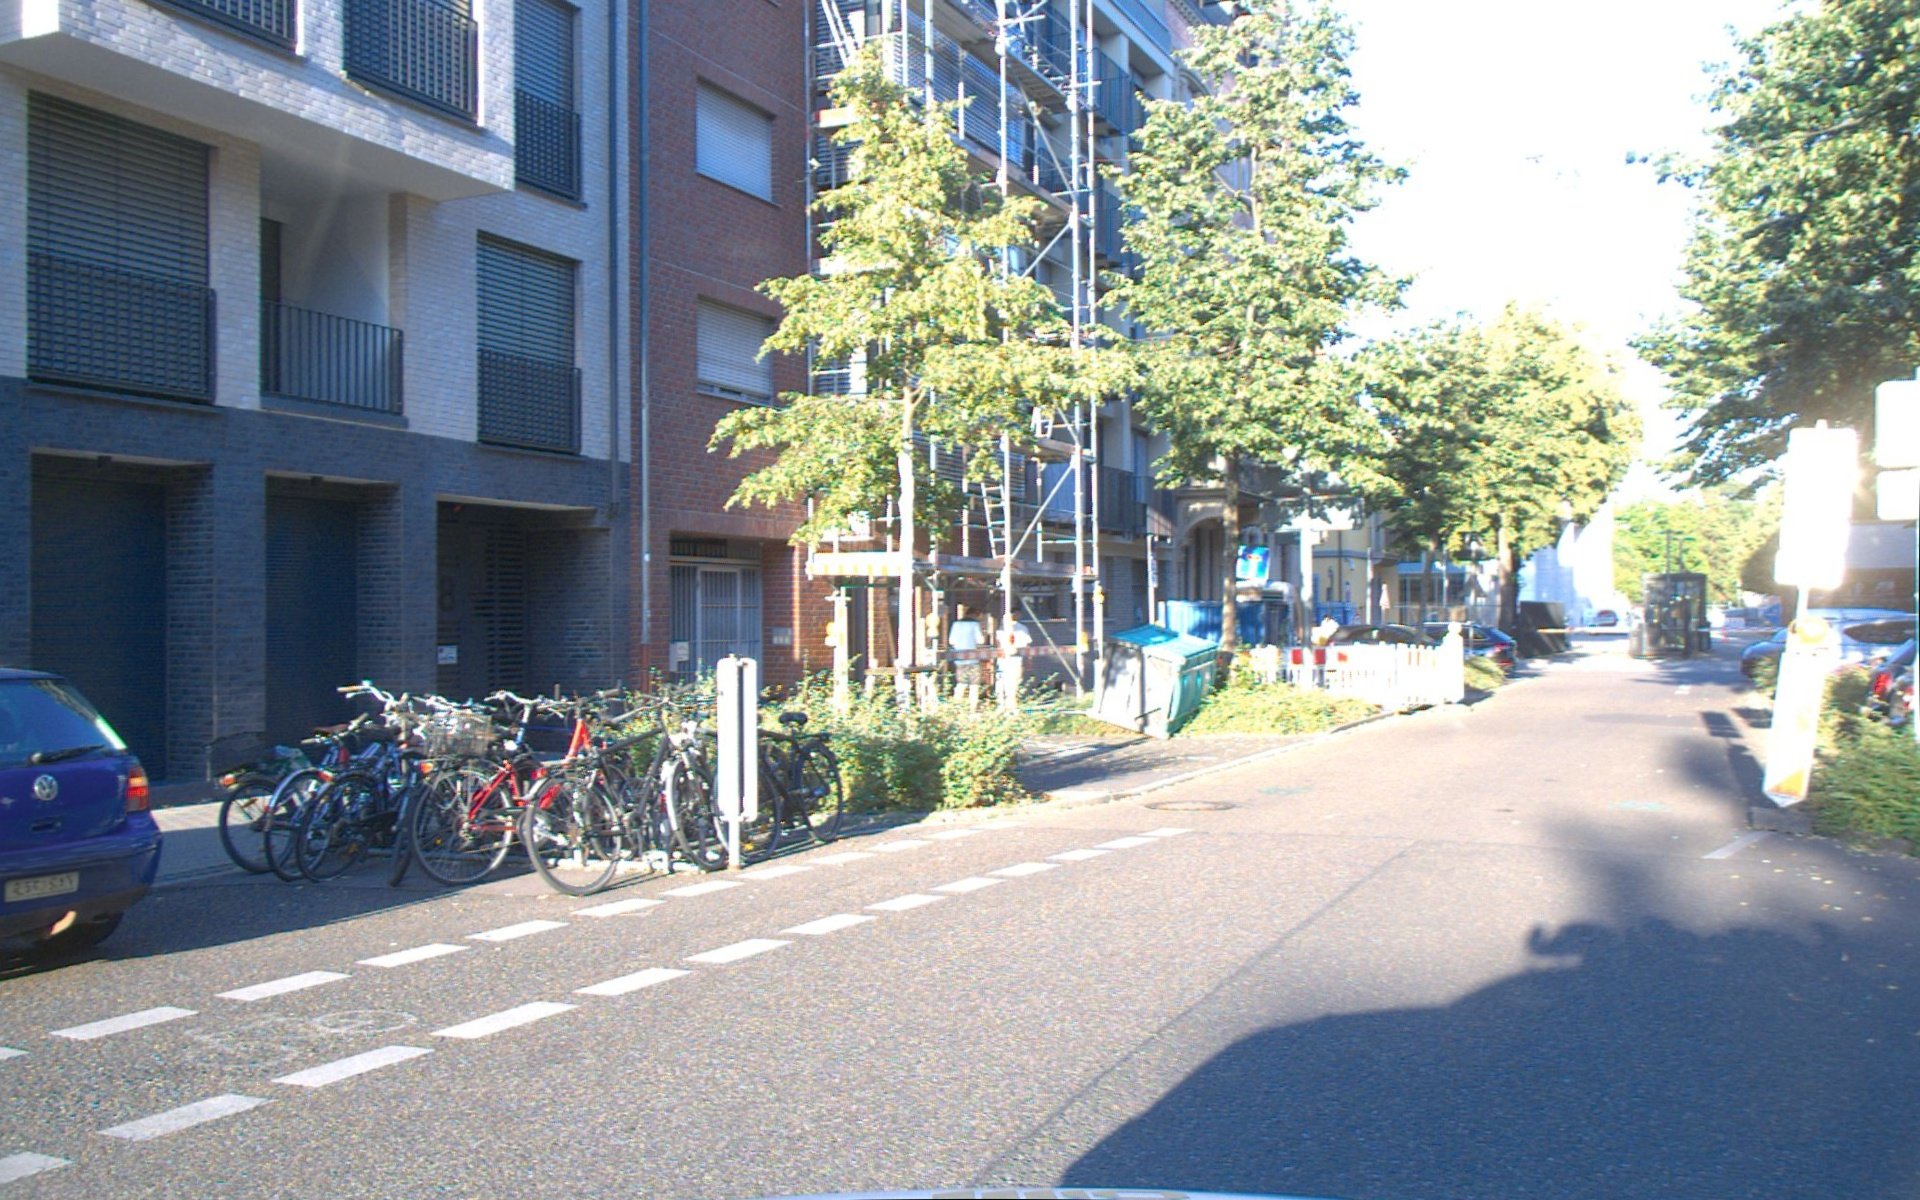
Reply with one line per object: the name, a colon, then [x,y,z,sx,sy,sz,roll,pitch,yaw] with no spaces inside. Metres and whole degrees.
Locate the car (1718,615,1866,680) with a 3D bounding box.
car: [21.756,1.228,43.230,3.649,1.595,1.838,1,0,-32]

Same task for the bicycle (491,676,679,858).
bicycle: [-2.678,1.161,11.949,0.477,1.170,1.551,-1,-1,25]

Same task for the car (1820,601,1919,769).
car: [11.151,0.899,17.357,3.611,1.699,1.858,1,0,23]

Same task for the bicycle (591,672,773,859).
bicycle: [-1.943,1.128,11.750,0.477,1.183,1.551,-1,-1,25]

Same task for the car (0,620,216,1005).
car: [-5.794,0.944,7.823,4.018,1.590,1.695,-2,-1,17]

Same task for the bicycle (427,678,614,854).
bicycle: [-3.248,1.197,12.348,0.458,1.164,1.551,-1,-1,25]

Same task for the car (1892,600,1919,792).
car: [10.639,0.881,14.674,3.915,1.699,1.858,1,0,23]

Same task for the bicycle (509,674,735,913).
bicycle: [-1.961,1.086,9.805,0.487,1.242,1.551,-1,-1,25]

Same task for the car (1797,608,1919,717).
car: [15.721,1.008,26.894,3.611,1.699,1.858,1,0,23]

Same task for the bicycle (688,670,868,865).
bicycle: [-1.225,1.107,11.418,0.497,1.199,1.551,-1,-1,25]

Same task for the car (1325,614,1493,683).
car: [11.638,1.234,42.915,3.910,1.713,1.888,0,-1,28]

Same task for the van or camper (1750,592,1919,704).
van or camper: [17.589,0.900,31.672,4.350,2.040,1.858,1,0,23]

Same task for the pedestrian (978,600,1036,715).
pedestrian: [0.759,0.913,26.573,0.726,1.815,0.656,-1,-1,24]

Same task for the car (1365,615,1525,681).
car: [13.226,1.269,45.119,3.910,1.713,1.888,0,-1,28]

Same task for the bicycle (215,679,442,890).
bicycle: [-4.054,1.146,10.733,0.378,1.210,1.551,-1,-1,25]

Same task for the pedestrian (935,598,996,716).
pedestrian: [0.085,0.880,25.854,0.726,1.815,0.656,-1,-1,25]

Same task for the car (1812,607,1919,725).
car: [14.845,0.983,24.708,3.611,1.699,1.858,1,0,23]

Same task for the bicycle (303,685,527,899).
bicycle: [-3.384,1.155,10.397,0.373,1.180,1.551,-1,-1,25]

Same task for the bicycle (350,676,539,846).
bicycle: [-3.890,1.185,12.597,0.448,1.152,1.551,-1,-1,25]

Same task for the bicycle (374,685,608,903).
bicycle: [-2.856,1.147,10.216,0.409,1.177,1.549,-1,-1,30]

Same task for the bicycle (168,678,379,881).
bicycle: [-4.522,1.147,10.984,0.379,1.204,1.404,-1,-1,25]
